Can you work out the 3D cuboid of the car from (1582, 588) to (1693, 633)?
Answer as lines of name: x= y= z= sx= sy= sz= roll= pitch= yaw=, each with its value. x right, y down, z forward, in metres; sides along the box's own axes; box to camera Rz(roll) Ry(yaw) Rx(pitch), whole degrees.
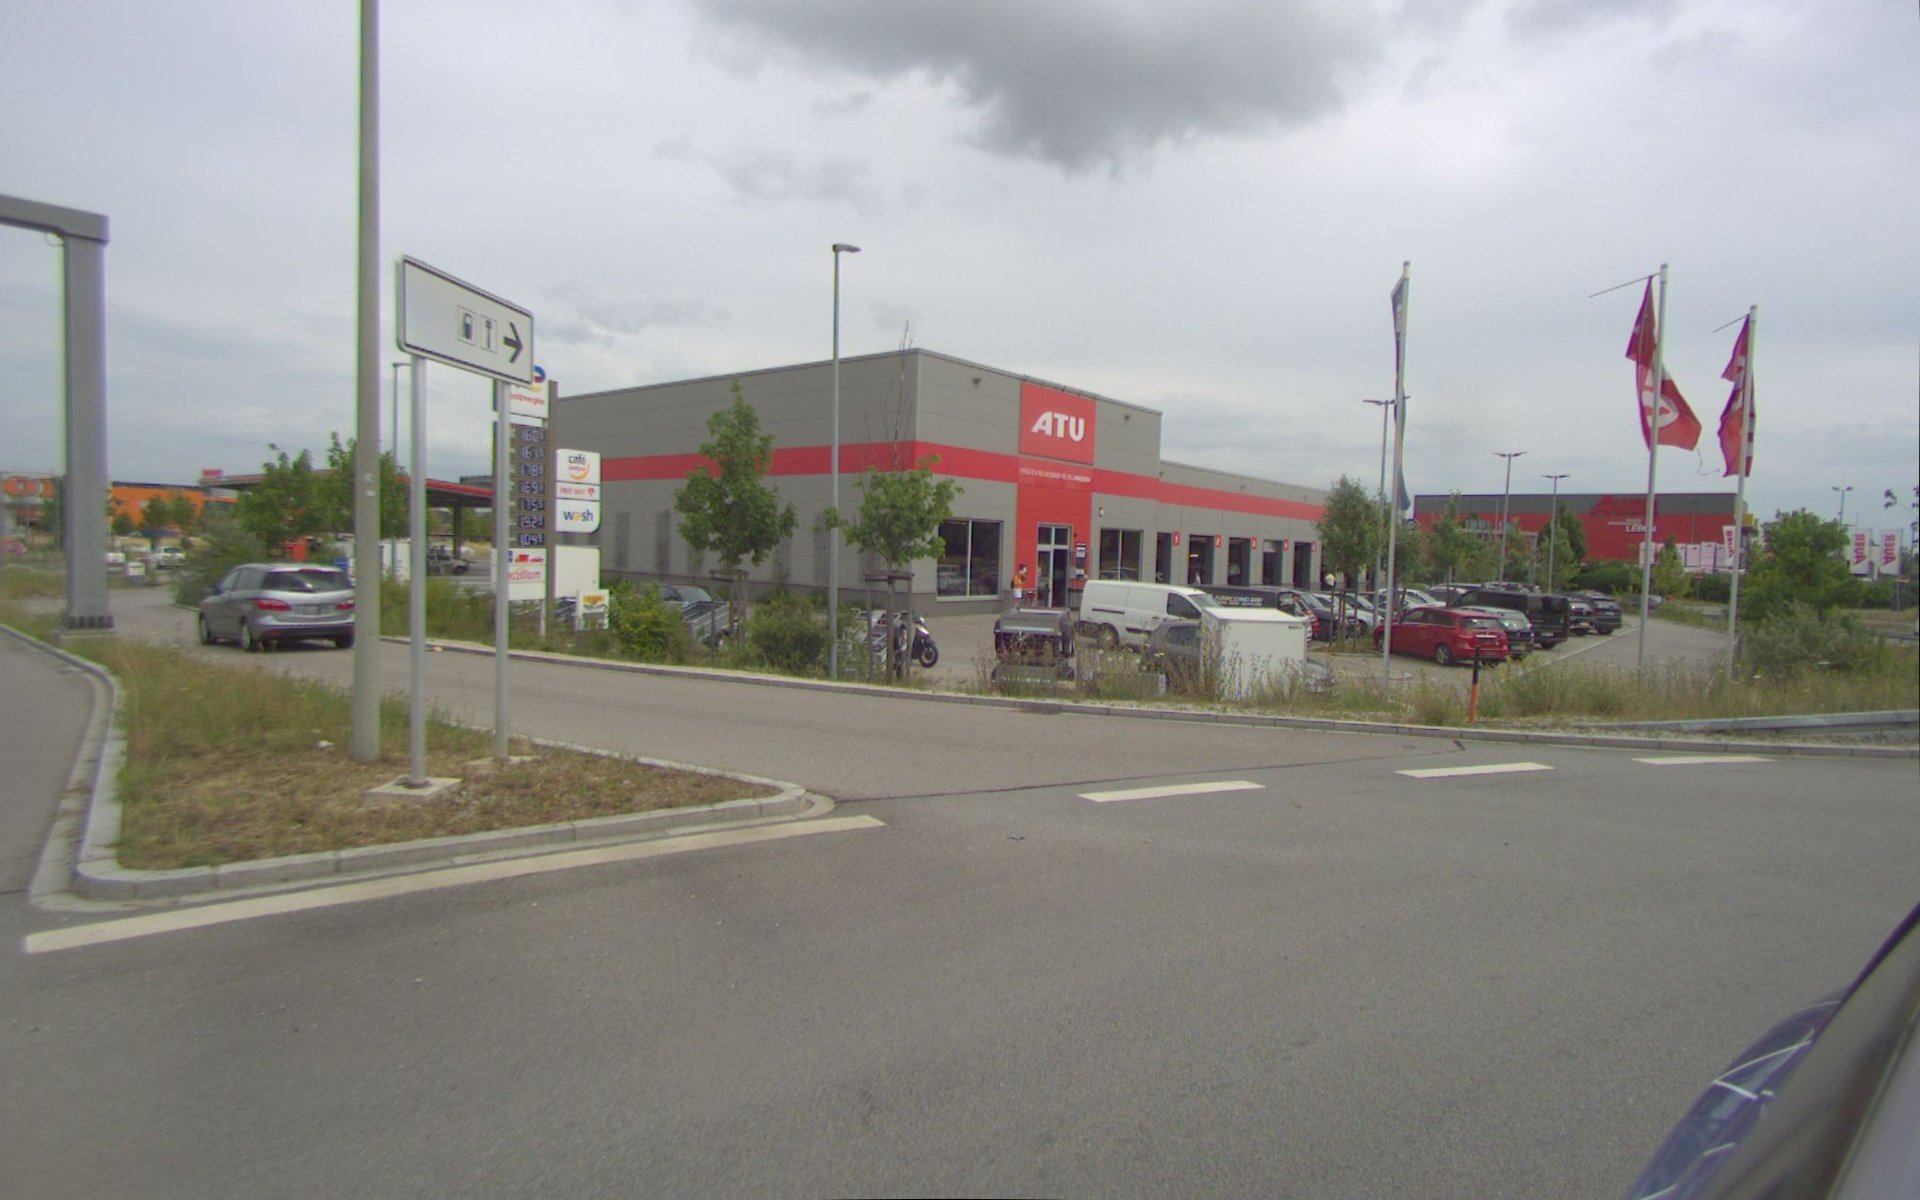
car: x=30.691 y=0.428 z=46.001 sx=1.792 sy=1.641 sz=4.086 roll=3 pitch=4 yaw=-8

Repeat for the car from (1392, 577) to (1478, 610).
car: x=23.756 y=-0.363 z=50.640 sx=3.678 sy=1.564 sz=1.570 roll=2 pitch=2 yaw=37

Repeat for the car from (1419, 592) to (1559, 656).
car: x=16.657 y=0.695 z=32.140 sx=1.734 sy=1.598 sz=4.087 roll=2 pitch=3 yaw=-10

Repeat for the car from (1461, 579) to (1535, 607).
car: x=31.894 y=-0.454 z=59.989 sx=3.678 sy=1.564 sz=1.570 roll=2 pitch=2 yaw=37

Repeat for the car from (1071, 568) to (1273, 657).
car: x=5.770 y=0.264 z=27.922 sx=5.051 sy=2.072 sz=1.974 roll=4 pitch=3 yaw=37

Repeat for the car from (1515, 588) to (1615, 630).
car: x=26.421 y=0.343 z=44.349 sx=1.618 sy=1.642 sz=4.081 roll=3 pitch=1 yaw=-4

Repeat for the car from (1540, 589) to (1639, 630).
car: x=28.638 y=0.393 z=46.167 sx=1.702 sy=1.642 sz=4.080 roll=3 pitch=1 yaw=-4

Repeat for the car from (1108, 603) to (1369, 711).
car: x=5.664 y=1.055 z=20.894 sx=4.809 sy=1.696 sz=1.940 roll=4 pitch=3 yaw=37

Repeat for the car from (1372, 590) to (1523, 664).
car: x=14.273 y=0.732 z=29.903 sx=1.734 sy=1.597 sz=4.091 roll=0 pitch=6 yaw=-13

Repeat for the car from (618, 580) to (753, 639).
car: x=-7.995 y=0.251 z=29.793 sx=3.662 sy=1.593 sz=1.921 roll=-1 pitch=1 yaw=-10

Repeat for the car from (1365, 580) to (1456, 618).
car: x=21.193 y=-0.070 z=47.661 sx=3.678 sy=1.658 sz=1.570 roll=2 pitch=2 yaw=37

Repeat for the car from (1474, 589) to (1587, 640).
car: x=22.483 y=0.520 z=40.061 sx=1.868 sy=1.732 sz=4.082 roll=2 pitch=2 yaw=-4

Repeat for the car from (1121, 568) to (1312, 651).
car: x=7.540 y=0.203 z=30.003 sx=5.052 sy=1.996 sz=1.974 roll=5 pitch=4 yaw=37

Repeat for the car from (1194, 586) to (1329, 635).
car: x=10.279 y=0.301 z=34.634 sx=4.178 sy=1.518 sz=1.570 roll=2 pitch=2 yaw=37

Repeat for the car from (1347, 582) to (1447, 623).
car: x=18.676 y=0.076 z=43.296 sx=3.678 sy=1.658 sz=1.570 roll=2 pitch=2 yaw=37

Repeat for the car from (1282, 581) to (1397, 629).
car: x=14.036 y=0.157 z=37.503 sx=3.678 sy=1.658 sz=1.570 roll=1 pitch=2 yaw=37

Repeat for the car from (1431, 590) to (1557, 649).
car: x=18.380 y=0.615 z=35.084 sx=1.735 sy=1.598 sz=4.086 roll=3 pitch=4 yaw=-7

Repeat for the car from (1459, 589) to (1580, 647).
car: x=20.412 y=0.620 z=37.135 sx=1.868 sy=1.932 sz=4.080 roll=3 pitch=0 yaw=-4

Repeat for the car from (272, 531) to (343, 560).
car: x=-45.640 y=-3.798 z=70.862 sx=1.699 sy=1.816 sz=3.803 roll=1 pitch=0 yaw=26

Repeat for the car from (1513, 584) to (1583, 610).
car: x=37.078 y=-0.227 z=63.823 sx=3.678 sy=1.564 sz=1.570 roll=2 pitch=2 yaw=37

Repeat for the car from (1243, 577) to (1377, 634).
car: x=12.237 y=0.151 z=35.530 sx=4.178 sy=1.859 sz=1.570 roll=2 pitch=2 yaw=37

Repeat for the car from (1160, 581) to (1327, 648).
car: x=8.874 y=0.382 z=31.915 sx=4.651 sy=1.661 sz=1.890 roll=5 pitch=4 yaw=37

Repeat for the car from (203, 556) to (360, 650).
car: x=-13.037 y=-0.005 z=19.349 sx=1.886 sy=1.593 sz=3.991 roll=-1 pitch=2 yaw=-43
